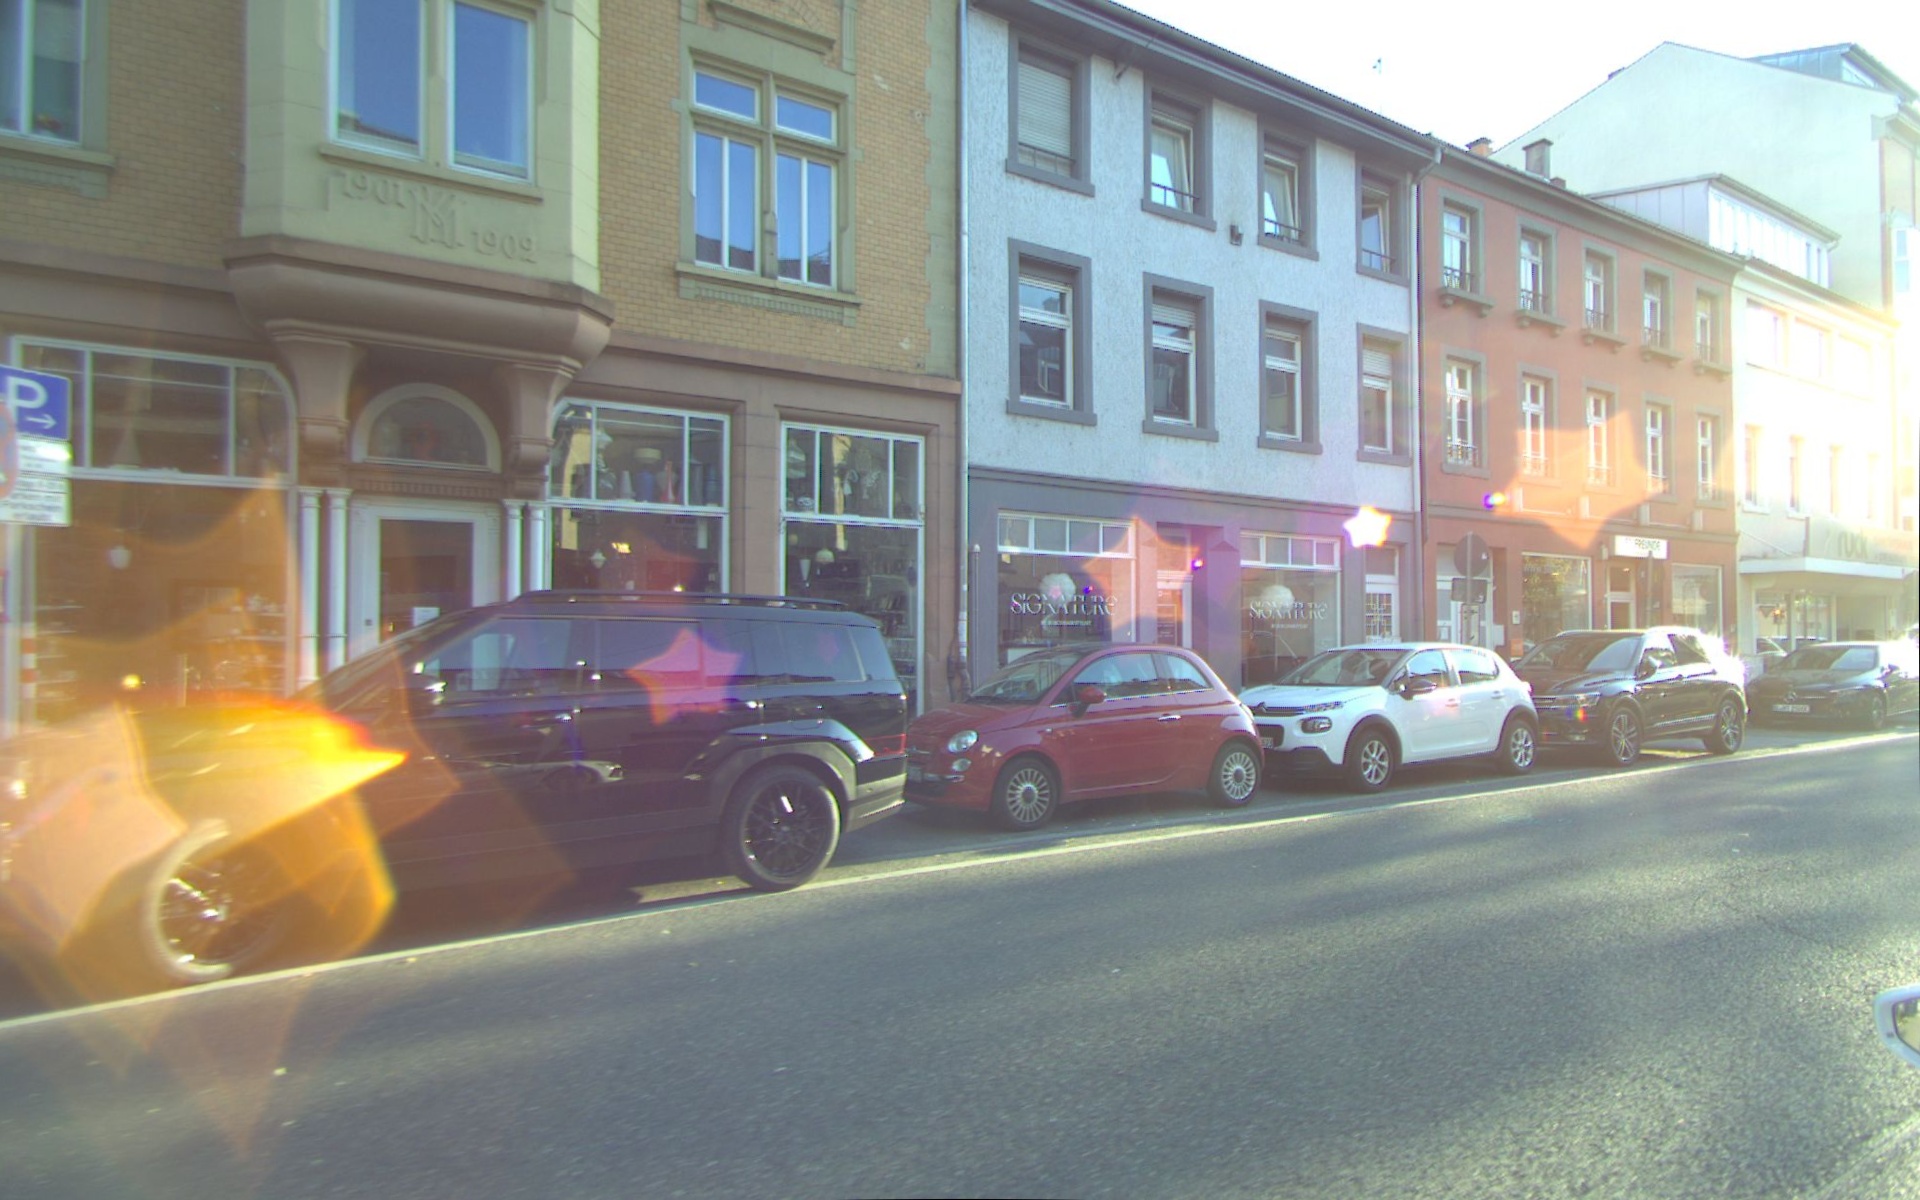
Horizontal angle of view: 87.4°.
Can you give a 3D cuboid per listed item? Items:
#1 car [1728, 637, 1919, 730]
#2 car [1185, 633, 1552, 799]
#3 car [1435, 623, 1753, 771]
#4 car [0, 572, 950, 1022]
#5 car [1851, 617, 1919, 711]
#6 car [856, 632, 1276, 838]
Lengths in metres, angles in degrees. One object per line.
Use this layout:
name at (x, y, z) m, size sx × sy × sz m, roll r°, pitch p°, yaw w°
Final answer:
car at (15.706, 1.413, 17.923) m, size 4.259 × 1.459 × 1.705 m, roll 1°, pitch -3°, yaw -31°
car at (4.595, 1.166, 11.221) m, size 3.903 × 1.534 × 1.766 m, roll 1°, pitch -3°, yaw -30°
car at (8.370, 1.171, 13.197) m, size 4.188 × 1.654 × 1.766 m, roll 1°, pitch -3°, yaw -30°
car at (-2.502, 0.857, 5.986) m, size 4.656 × 1.751 × 1.892 m, roll 1°, pitch -3°, yaw -35°
car at (21.061, 1.301, 21.305) m, size 5.290 × 1.834 × 1.817 m, roll 1°, pitch -3°, yaw -33°
car at (0.986, 1.091, 9.200) m, size 3.443 × 1.534 × 1.766 m, roll 1°, pitch -4°, yaw -30°
